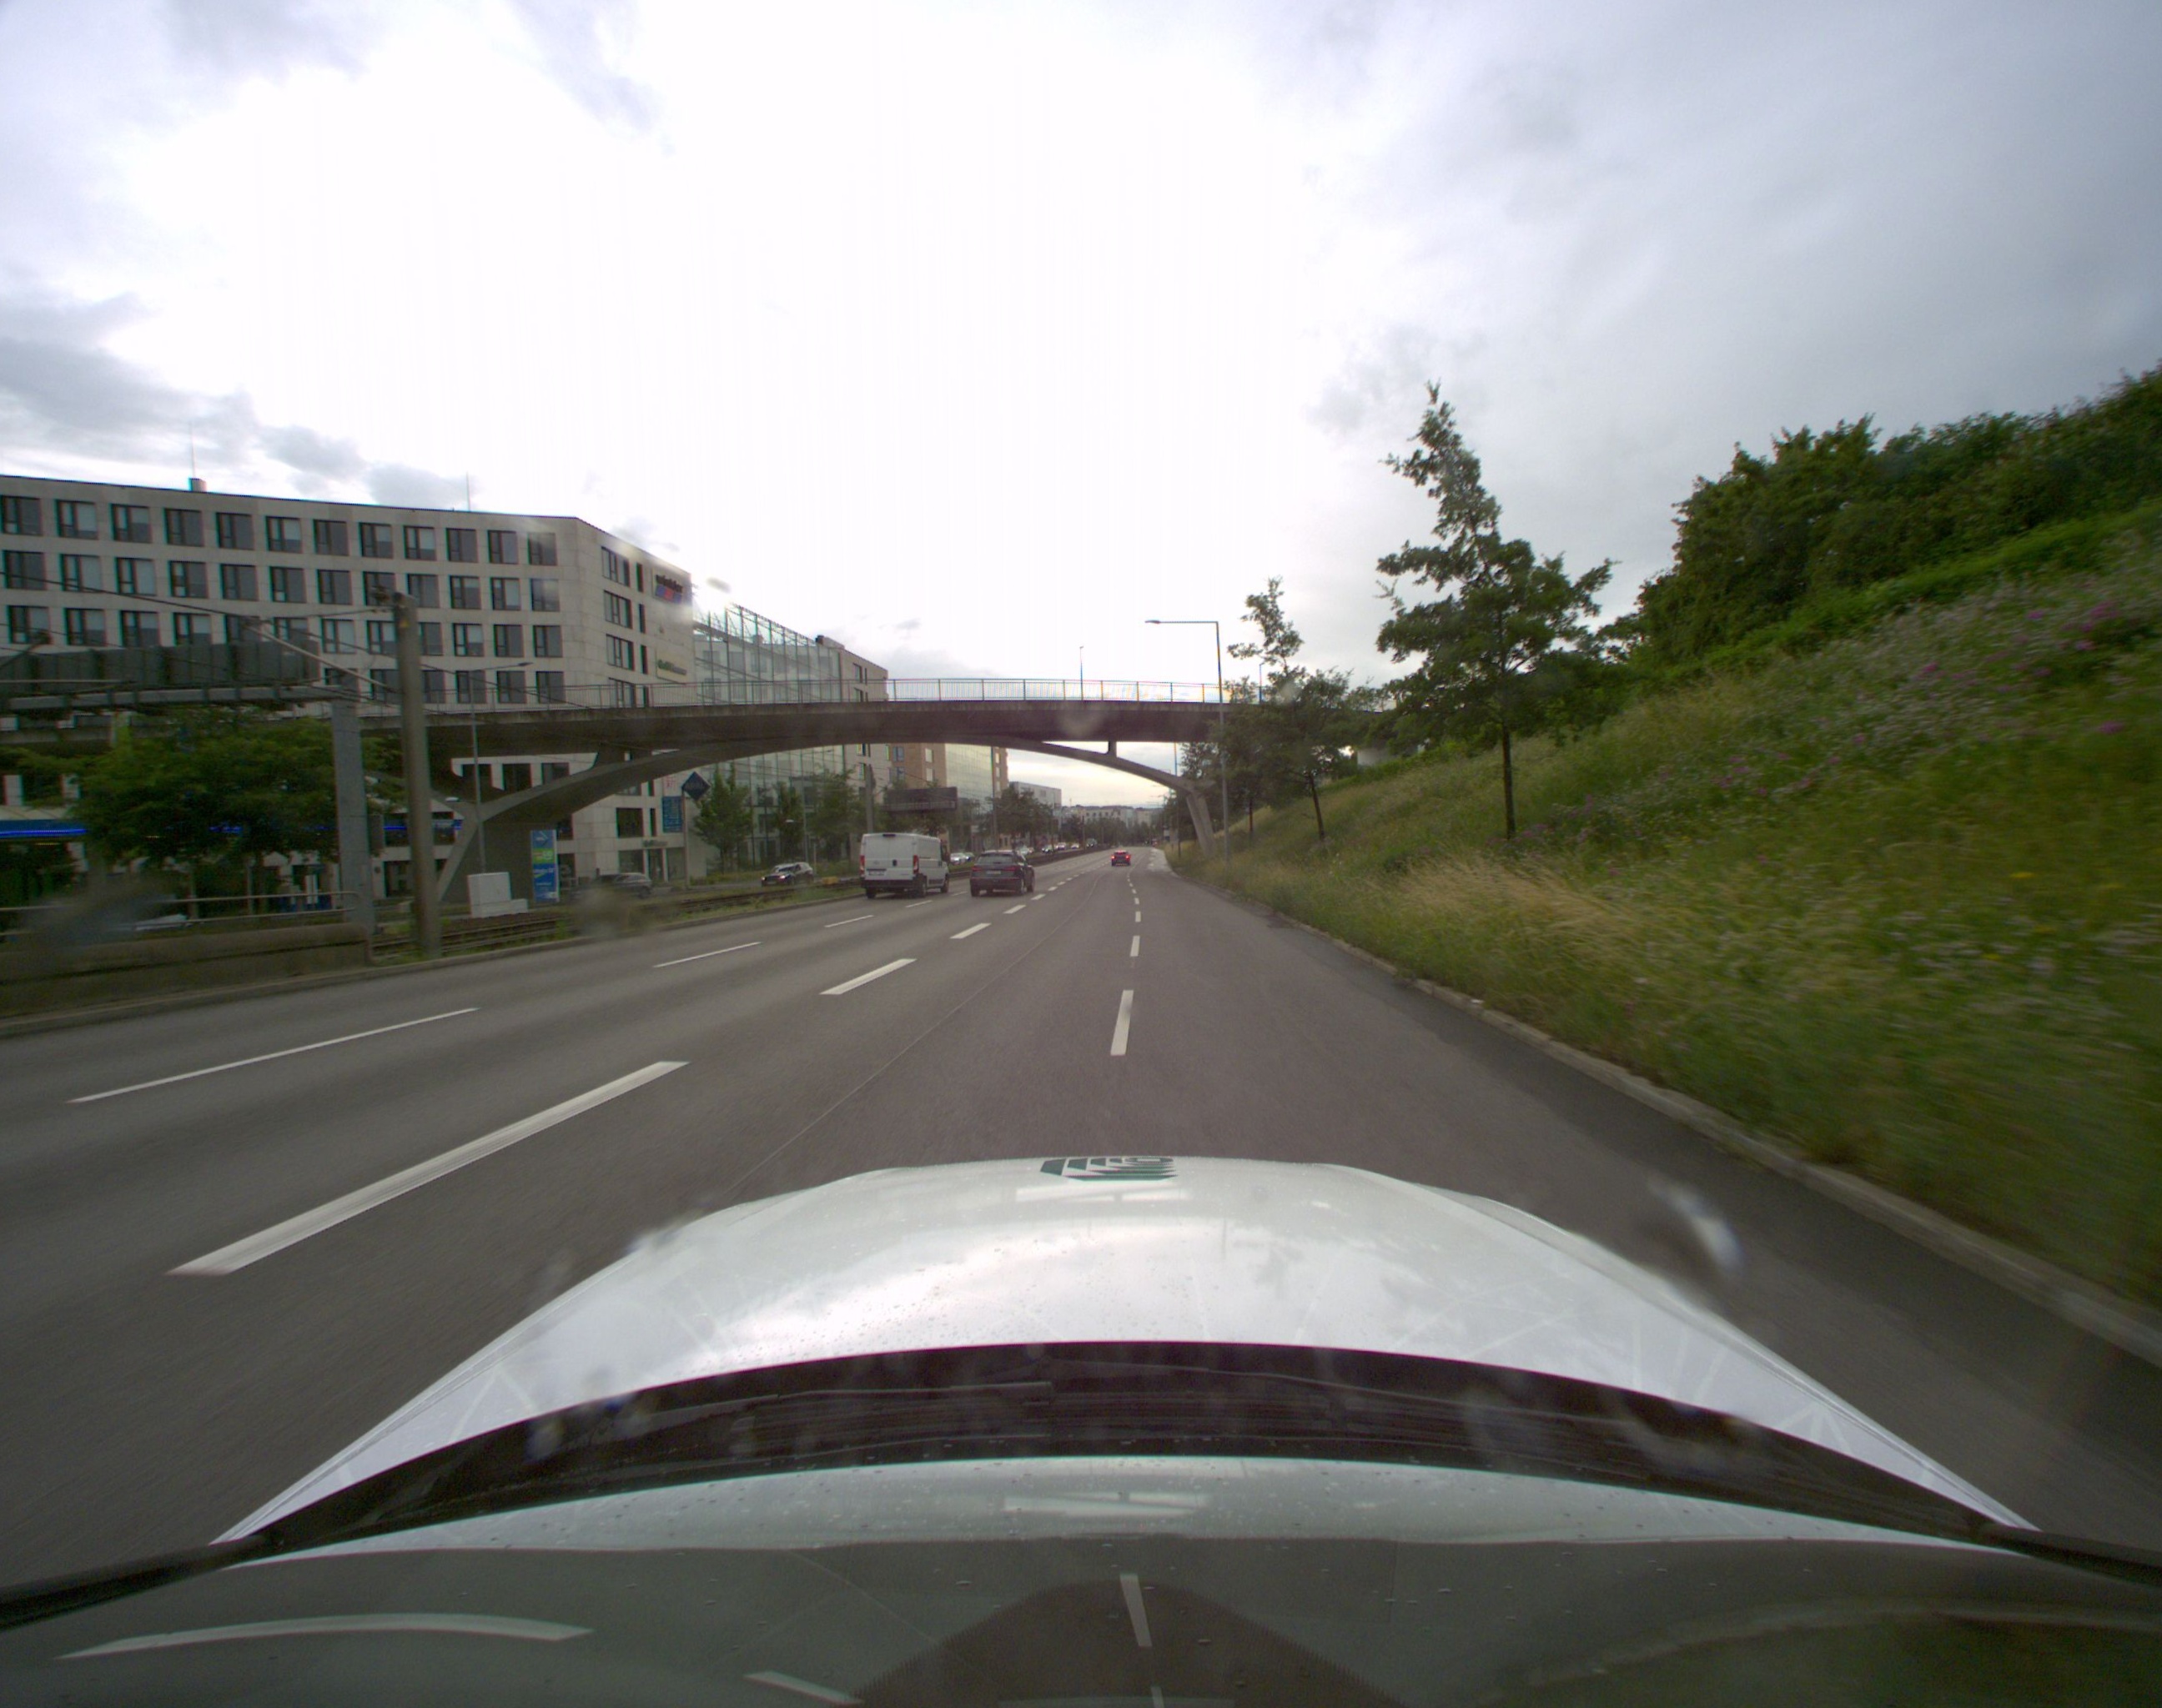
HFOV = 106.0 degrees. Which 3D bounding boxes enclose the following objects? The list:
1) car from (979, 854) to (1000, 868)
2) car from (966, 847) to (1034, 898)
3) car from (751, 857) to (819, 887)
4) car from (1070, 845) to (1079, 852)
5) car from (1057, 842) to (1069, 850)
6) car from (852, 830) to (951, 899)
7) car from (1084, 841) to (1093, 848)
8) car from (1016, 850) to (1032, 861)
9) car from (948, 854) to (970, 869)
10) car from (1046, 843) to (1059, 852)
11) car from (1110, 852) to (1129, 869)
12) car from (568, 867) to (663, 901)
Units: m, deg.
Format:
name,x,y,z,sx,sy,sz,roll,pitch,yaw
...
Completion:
name,x,y,z,sx,sy,sz,roll,pitch,yaw
car,-12.217,0.946,108.929,1.911,1.776,4.232,0,1,6
car,-2.915,0.623,30.140,1.914,1.710,4.101,0,1,3
car,-17.435,1.012,48.261,2.038,1.539,4.764,0,1,3
car,-1.813,-1.417,218.631,1.928,1.761,4.819,0,1,6
car,-4.192,-1.904,190.611,1.928,1.761,5.071,0,1,6
car,-6.386,0.318,29.551,2.258,2.284,4.764,0,1,3
car,2.165,-2.715,226.326,1.928,1.761,4.819,0,1,6
car,-9.097,0.220,130.740,1.755,1.597,4.801,0,1,6
car,-15.529,0.935,103.757,1.912,1.776,4.138,0,1,3
car,-5.472,-1.256,156.516,1.800,1.533,4.878,0,1,6
car,3.786,0.644,79.883,1.782,1.591,4.003,0,-1,3
car,-24.355,1.525,42.825,2.038,1.539,4.764,0,1,3
